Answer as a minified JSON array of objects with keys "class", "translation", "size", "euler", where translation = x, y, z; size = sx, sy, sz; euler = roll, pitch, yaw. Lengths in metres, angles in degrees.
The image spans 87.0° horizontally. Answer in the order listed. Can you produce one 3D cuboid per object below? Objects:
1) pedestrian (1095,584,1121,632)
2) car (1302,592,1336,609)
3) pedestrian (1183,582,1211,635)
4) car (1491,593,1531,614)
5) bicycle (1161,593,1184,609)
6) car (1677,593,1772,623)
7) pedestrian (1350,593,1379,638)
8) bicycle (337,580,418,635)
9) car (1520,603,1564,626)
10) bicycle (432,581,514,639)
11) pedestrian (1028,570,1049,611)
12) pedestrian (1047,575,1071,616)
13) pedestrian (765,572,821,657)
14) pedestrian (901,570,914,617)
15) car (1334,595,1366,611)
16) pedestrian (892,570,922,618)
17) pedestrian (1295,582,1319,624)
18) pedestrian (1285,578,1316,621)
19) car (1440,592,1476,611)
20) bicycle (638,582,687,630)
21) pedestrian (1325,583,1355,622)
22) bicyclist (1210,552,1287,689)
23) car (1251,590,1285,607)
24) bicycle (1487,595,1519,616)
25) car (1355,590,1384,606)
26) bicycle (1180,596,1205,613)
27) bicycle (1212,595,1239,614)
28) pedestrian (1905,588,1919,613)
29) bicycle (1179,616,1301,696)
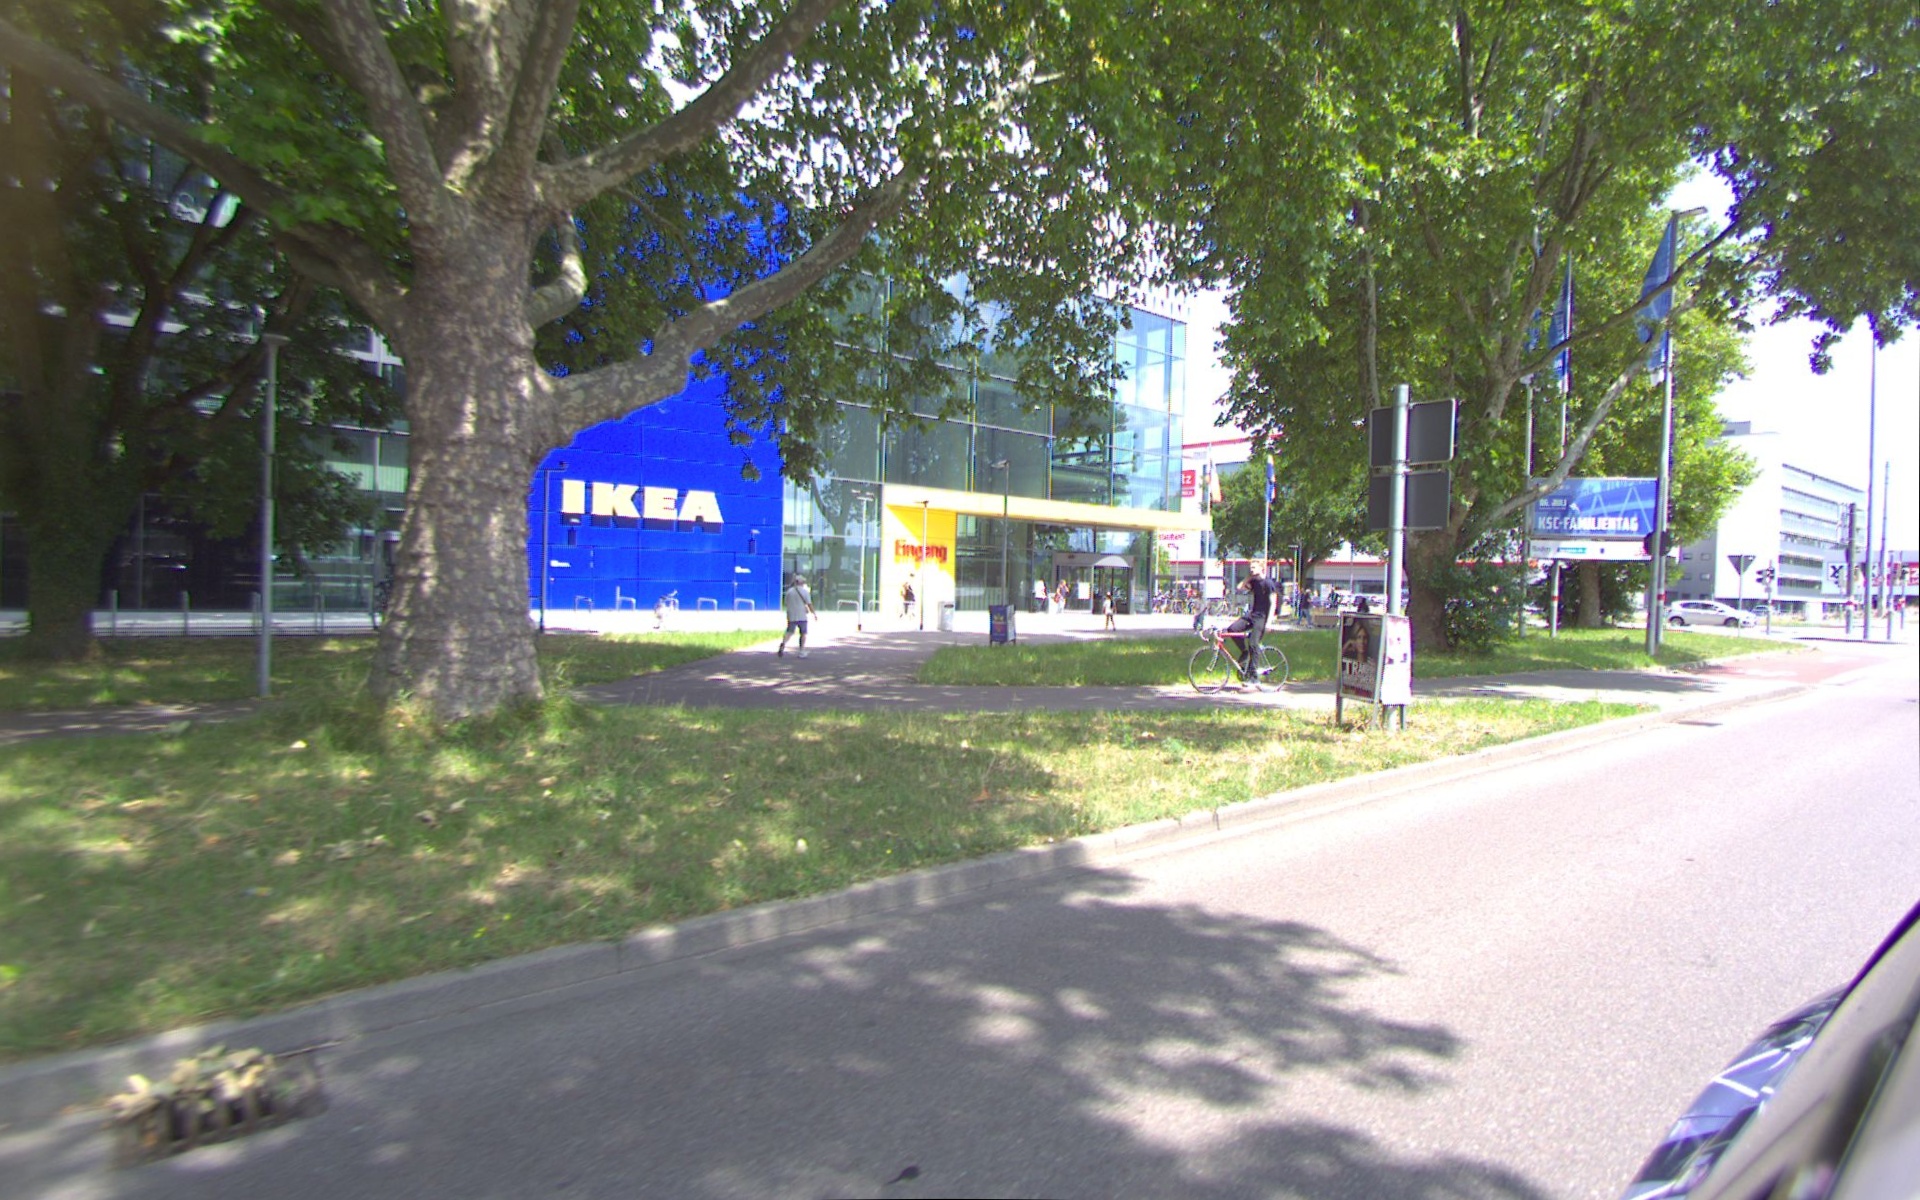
[{"class":"pedestrian","translation":[5.462,0.304,37.276],"size":[0.654,1.639,0.590],"euler":[6,-12,-42]},{"class":"car","translation":[43.468,0.046,122.470],"size":[4.284,2.014,1.999],"euler":[0,1,-38]},{"class":"pedestrian","translation":[8.175,0.293,34.900],"size":[0.656,1.794,0.666],"euler":[1,1,-36]},{"class":"car","translation":[56.870,0.311,104.412],"size":[4.514,2.014,1.999],"euler":[0,2,-39]},{"class":"bicycle","translation":[14.467,0.081,68.920],"size":[1.833,1.047,0.424],"euler":[2,-1,-36]},{"class":"car","translation":[41.455,0.420,54.914],"size":[1.867,1.488,3.828],"euler":[-1,2,-41]},{"class":"pedestrian","translation":[15.882,0.615,39.743],"size":[0.581,1.683,0.720],"euler":[3,2,-34]},{"class":"bicycle","translation":[-13.399,0.137,23.381],"size":[0.878,1.135,2.785],"euler":[1,2,-14]},{"class":"car","translation":[53.117,1.328,92.348],"size":[4.283,2.014,1.999],"euler":[1,0,-39]},{"class":"bicycle","translation":[-11.568,0.195,24.200],"size":[0.966,1.190,3.848],"euler":[2,2,-14]},{"class":"pedestrian","translation":[3.654,-0.447,47.181],"size":[0.766,1.910,0.619],"euler":[1,-1,-29]},{"class":"pedestrian","translation":[4.238,-0.190,43.196],"size":[0.795,1.684,0.698],"euler":[3,1,23]},{"class":"pedestrian","translation":[-3.468,0.293,21.034],"size":[0.875,1.717,0.777],"euler":[1,0,-39]},{"class":"pedestrian","translation":[-1.945,-0.229,37.577],"size":[0.413,1.723,0.544],"euler":[1,-1,-1]},{"class":"car","translation":[52.336,0.365,135.772],"size":[4.283,2.014,1.999],"euler":[1,1,-39]},{"class":"pedestrian","translation":[-1.890,-0.207,36.256],"size":[0.874,1.685,0.782],"euler":[-1,-2,14]},{"class":"pedestrian","translation":[16.043,0.127,46.803],"size":[0.873,1.909,0.972],"euler":[1,1,8]},{"class":"pedestrian","translation":[16.985,-0.039,50.490],"size":[0.990,2.098,0.976],"euler":[1,1,-23]},{"class":"car","translation":[55.822,0.207,113.378],"size":[4.283,2.014,1.999],"euler":[1,0,-39]},{"class":"bicycle","translation":[-8.204,0.134,27.835],"size":[0.680,1.190,2.530],"euler":[1,2,-31]},{"class":"pedestrian","translation":[19.317,0.123,51.417],"size":[0.990,1.925,0.976],"euler":[1,1,-23]},{"class":"bicyclist","translation":[4.104,0.270,14.382],"size":[0.907,1.869,0.611],"euler":[0,1,-38]},{"class":"car","translation":[38.955,-0.205,128.012],"size":[4.283,2.014,1.999],"euler":[1,0,-39]},{"class":"bicycle","translation":[44.515,0.426,82.968],"size":[1.002,1.697,2.047],"euler":[2,0,-37]},{"class":"car","translation":[53.934,-0.281,133.360],"size":[3.927,2.039,1.776],"euler":[1,0,-38]},{"class":"bicycle","translation":[13.784,0.263,59.854],"size":[1.836,1.007,0.464],"euler":[1,0,-42]},{"class":"bicycle","translation":[15.187,0.263,57.968],"size":[1.833,1.007,0.424],"euler":[2,-1,-36]},{"class":"pedestrian","translation":[71.908,0.054,76.209],"size":[0.858,1.860,0.792],"euler":[0,2,24]},{"class":"bicycle","translation":[3.974,0.758,14.284],"size":[1.987,1.012,0.621],"euler":[-1,0,-38]}]
